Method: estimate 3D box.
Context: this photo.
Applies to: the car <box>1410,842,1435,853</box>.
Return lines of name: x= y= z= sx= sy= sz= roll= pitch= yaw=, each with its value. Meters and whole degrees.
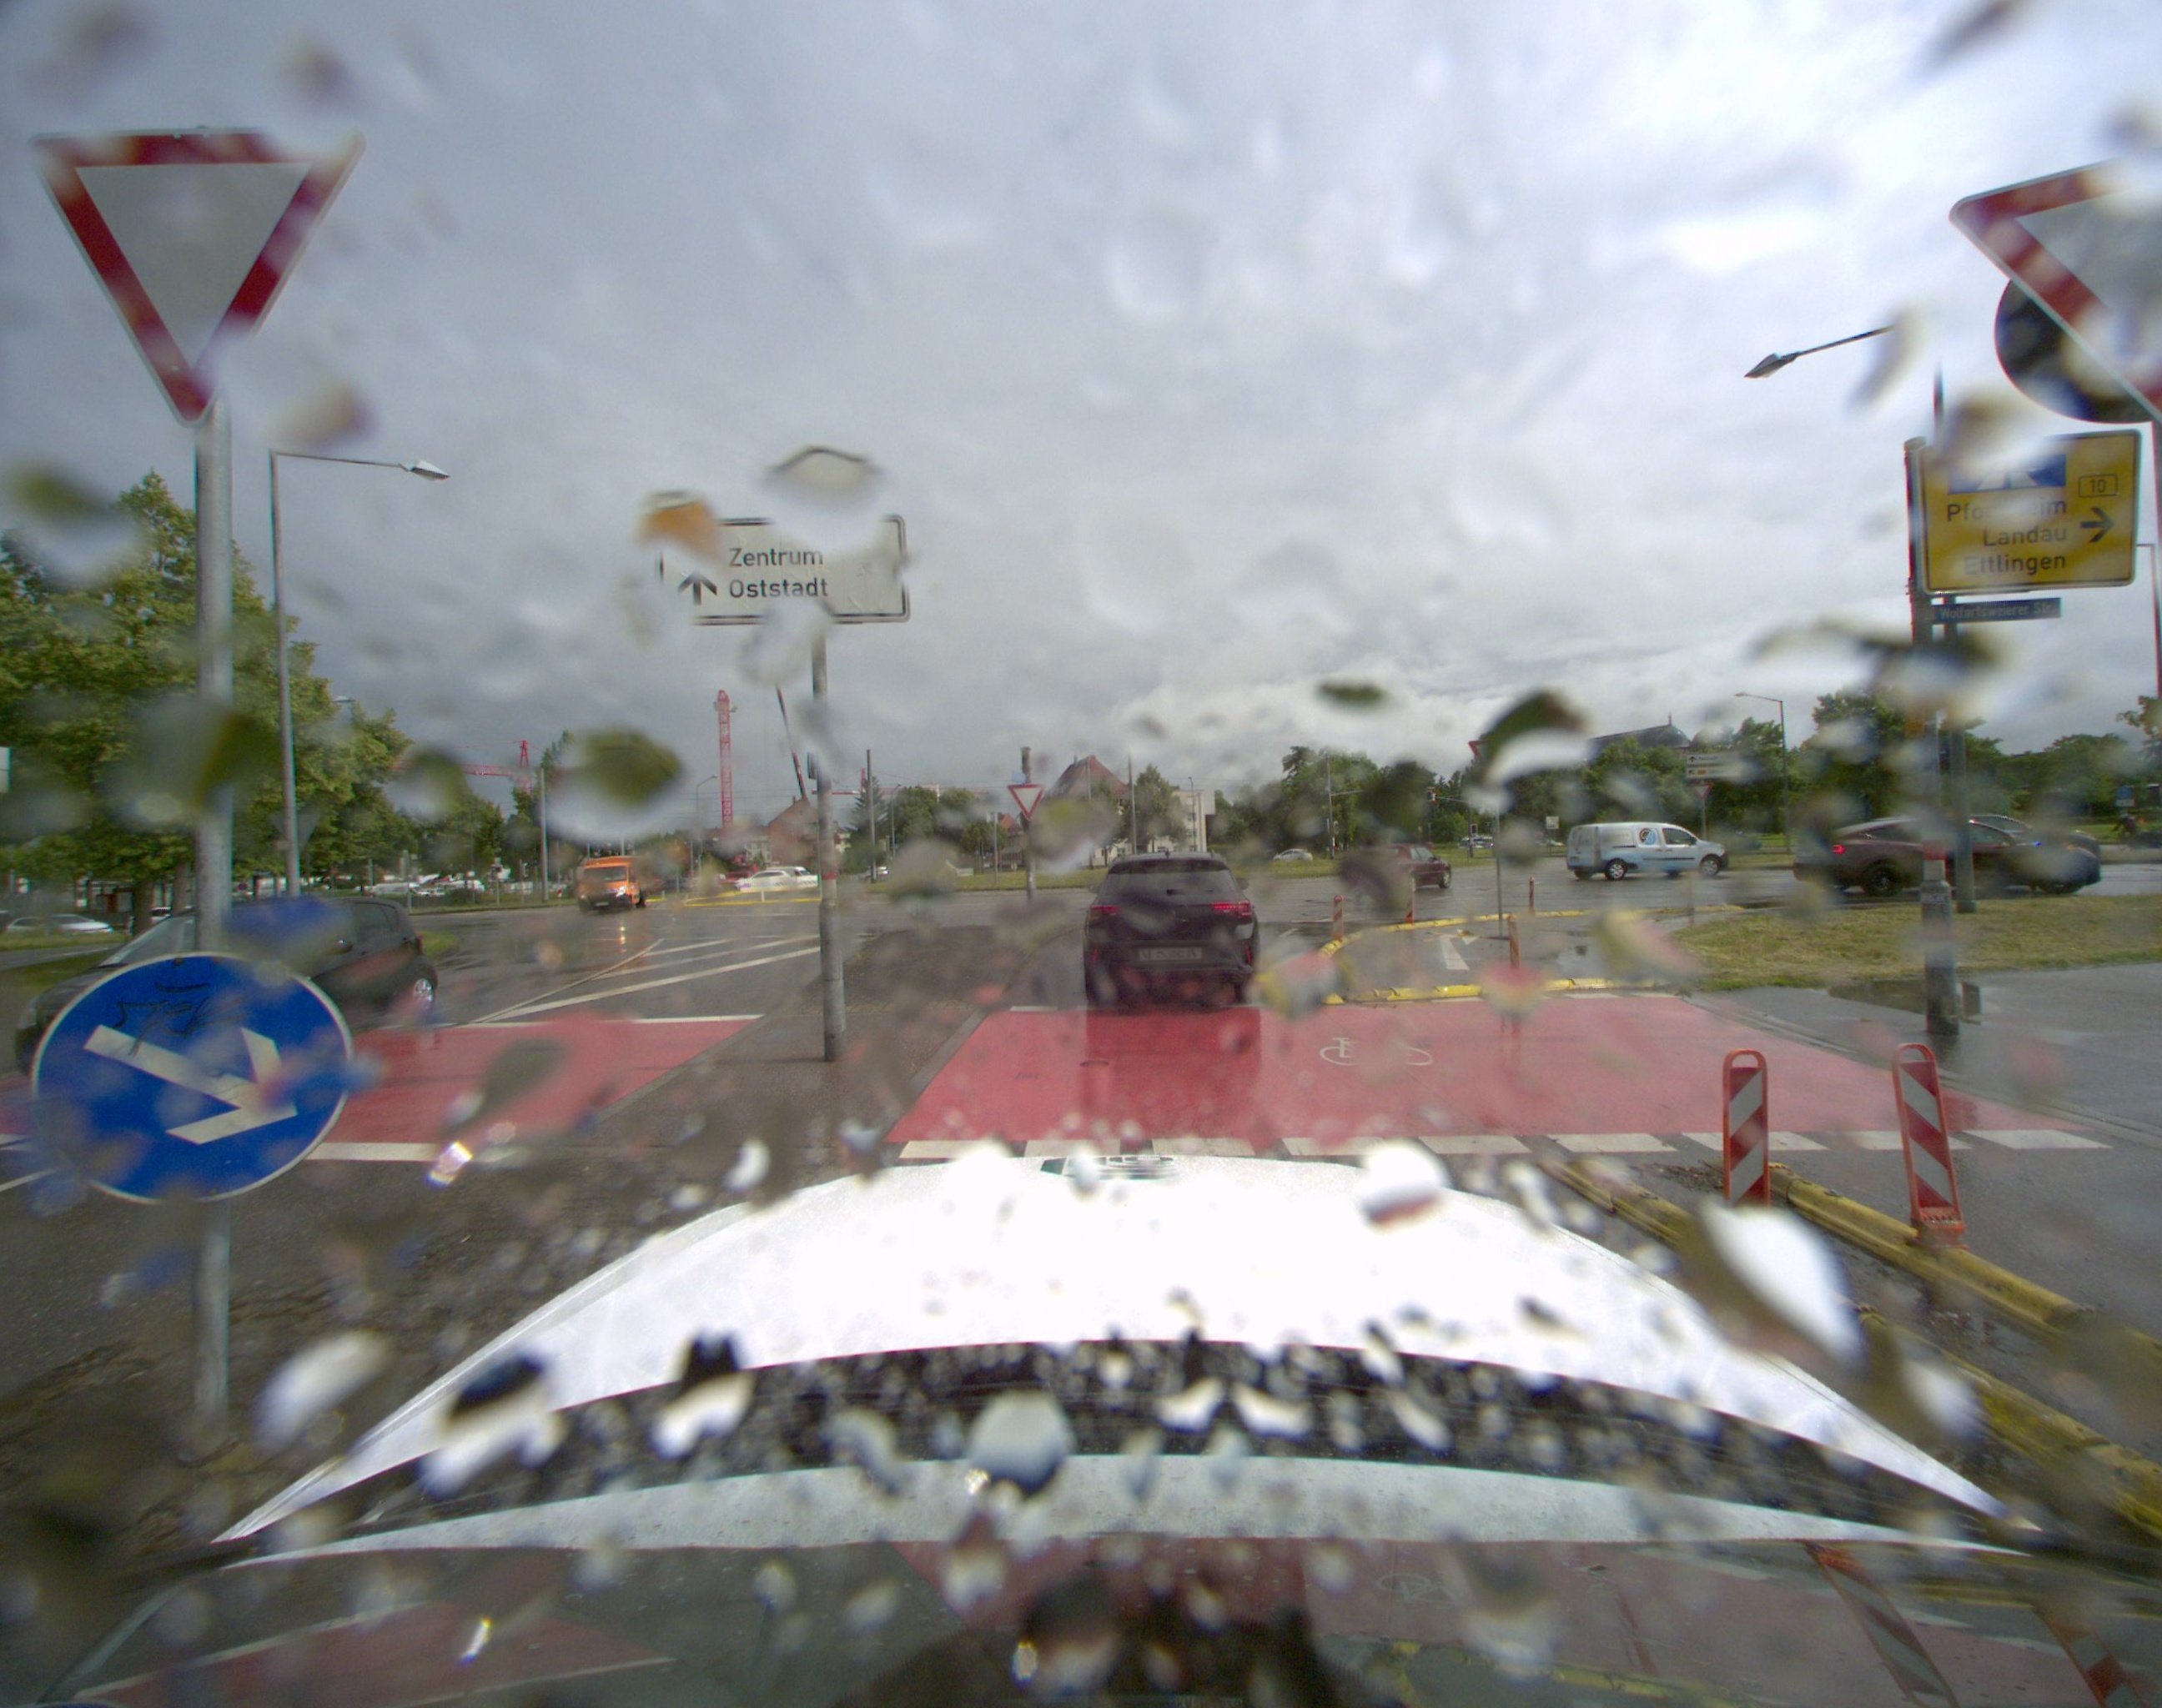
car: x=50.753 y=-1.004 z=121.107 sx=1.645 sy=1.510 sz=3.636 roll=-3 pitch=-1 yaw=-11

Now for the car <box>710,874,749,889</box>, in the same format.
car: x=-42.920 y=3.323 z=99.506 sx=3.965 sy=1.700 sz=1.934 roll=-1 pitch=-1 yaw=7

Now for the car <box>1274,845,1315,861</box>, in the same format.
car: x=20.861 y=-0.088 z=79.528 sx=3.455 sy=1.454 sz=1.560 roll=-3 pitch=0 yaw=41

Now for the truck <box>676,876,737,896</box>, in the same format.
truck: x=-42.746 y=3.601 z=92.988 sx=6.040 sy=2.212 sz=2.405 roll=-1 pitch=-1 yaw=11

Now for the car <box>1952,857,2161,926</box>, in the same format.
car: x=25.265 y=0.948 z=20.615 sx=3.952 sy=1.528 sz=1.820 roll=-3 pitch=0 yaw=21

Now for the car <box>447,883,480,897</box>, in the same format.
car: x=-90.404 y=5.252 z=119.281 sx=3.576 sy=1.722 sz=1.500 roll=-3 pitch=0 yaw=1

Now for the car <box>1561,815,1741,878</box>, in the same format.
car: x=18.322 y=-0.236 z=26.314 sx=4.523 sy=1.762 sz=1.867 roll=-2 pitch=0 yaw=-1

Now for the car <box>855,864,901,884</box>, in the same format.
car: x=-18.113 y=1.790 z=72.804 sx=3.699 sy=1.560 sz=1.554 roll=-2 pitch=0 yaw=-44

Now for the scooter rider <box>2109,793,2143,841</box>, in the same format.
scooter rider: x=45.531 y=-1.606 z=35.493 sx=0.697 sy=2.014 sz=0.775 roll=-1 pitch=-1 yaw=36

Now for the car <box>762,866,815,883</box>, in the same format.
car: x=-38.069 y=2.690 z=105.902 sx=6.208 sy=2.085 sz=2.048 roll=-1 pitch=-1 yaw=9

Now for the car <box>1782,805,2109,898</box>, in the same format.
car: x=18.267 y=-0.040 z=17.492 sx=4.450 sy=1.657 sz=1.883 roll=-3 pitch=0 yaw=16

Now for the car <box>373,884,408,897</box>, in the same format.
car: x=-94.629 y=5.023 z=111.547 sx=3.474 sy=1.560 sz=1.551 roll=-3 pitch=0 yaw=3

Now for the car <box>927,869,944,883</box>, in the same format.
car: x=-17.952 y=2.672 z=100.628 sx=1.541 sy=1.560 sz=3.498 roll=-2 pitch=0 yaw=-1

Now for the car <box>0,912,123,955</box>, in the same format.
car: x=-50.871 y=3.932 z=40.473 sx=4.436 sy=1.672 sz=1.869 roll=-4 pitch=0 yaw=4

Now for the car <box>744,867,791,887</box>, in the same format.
car: x=-25.879 y=1.876 z=67.258 sx=3.508 sy=1.510 sz=1.487 roll=-2 pitch=0 yaw=-28

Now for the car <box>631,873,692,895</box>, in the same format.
car: x=-33.013 y=2.350 z=64.211 sx=4.003 sy=1.517 sz=1.790 roll=-3 pitch=0 yaw=-22

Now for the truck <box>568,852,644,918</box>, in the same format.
truck: x=-22.224 y=1.380 z=38.387 sx=2.467 sy=2.726 sz=6.886 roll=-3 pitch=0 yaw=-26

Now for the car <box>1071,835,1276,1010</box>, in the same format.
car: x=1.032 y=0.601 z=9.629 sx=1.888 sy=1.617 sz=4.006 roll=-1 pitch=1 yaw=5

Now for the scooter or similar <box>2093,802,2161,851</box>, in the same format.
scooter or similar: x=44.931 y=-1.132 z=34.750 sx=1.224 sy=2.014 sz=3.430 roll=-1 pitch=-1 yaw=34

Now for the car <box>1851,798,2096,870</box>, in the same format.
car: x=25.564 y=-0.558 z=23.566 sx=4.271 sy=1.757 sz=2.053 roll=-3 pitch=0 yaw=21

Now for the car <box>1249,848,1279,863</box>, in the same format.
car: x=25.619 y=0.221 z=114.178 sx=2.109 sy=2.057 sz=5.139 roll=-3 pitch=0 yaw=-13

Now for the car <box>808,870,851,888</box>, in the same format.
car: x=-27.818 y=2.760 z=90.128 sx=1.974 sy=1.684 sz=4.026 roll=-3 pitch=0 yaw=36

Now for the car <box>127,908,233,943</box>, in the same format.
car: x=-48.038 y=3.812 z=43.452 sx=3.874 sy=1.508 sz=1.729 roll=-3 pitch=0 yaw=4

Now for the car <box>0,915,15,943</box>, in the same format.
car: x=-60.811 y=4.208 z=44.193 sx=3.874 sy=1.508 sz=1.729 roll=-3 pitch=0 yaw=4

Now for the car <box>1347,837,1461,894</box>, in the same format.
car: x=9.815 y=0.308 z=24.605 sx=4.024 sy=1.462 sz=1.699 roll=-4 pitch=2 yaw=-44

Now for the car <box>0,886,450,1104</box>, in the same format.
car: x=-8.427 y=1.211 z=8.416 sx=1.630 sy=1.533 sz=3.441 roll=-4 pitch=1 yaw=-13

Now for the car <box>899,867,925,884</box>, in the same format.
car: x=-17.622 y=2.226 z=84.911 sx=1.786 sy=1.585 sz=4.000 roll=-2 pitch=0 yaw=0
